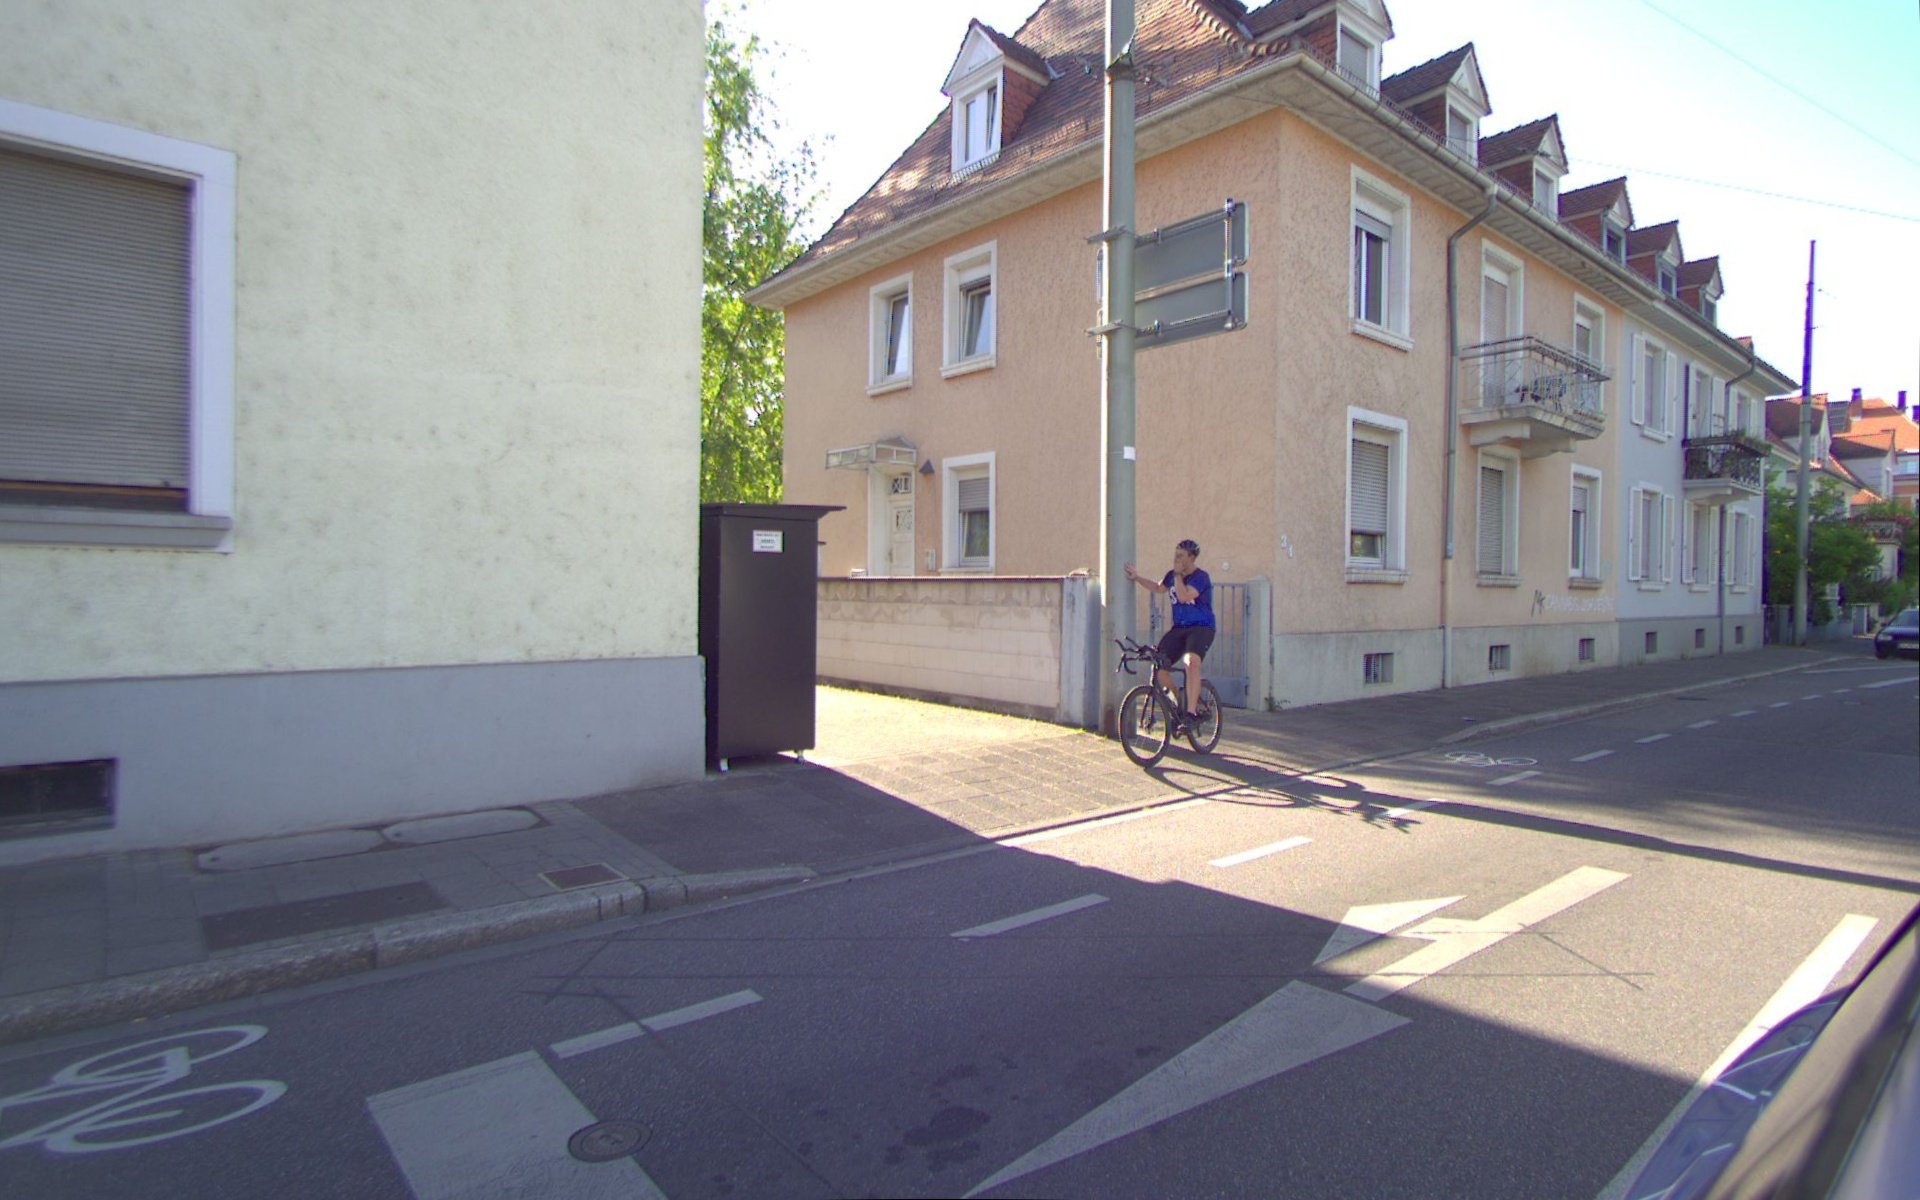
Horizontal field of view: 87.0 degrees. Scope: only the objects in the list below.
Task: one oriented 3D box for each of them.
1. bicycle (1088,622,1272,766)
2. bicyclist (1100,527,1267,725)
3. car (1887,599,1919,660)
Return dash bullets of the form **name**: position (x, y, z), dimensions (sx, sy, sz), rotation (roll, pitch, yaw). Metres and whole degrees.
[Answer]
- **bicycle**: position (1.974, 0.776, 8.949), dimensions (1.744, 1.081, 0.592), rotation (0, 5, -41)
- **bicyclist**: position (2.024, 0.196, 9.227), dimensions (0.870, 1.627, 1.052), rotation (1, 5, -41)
- **car**: position (26.704, 0.755, 27.367), dimensions (3.742, 1.601, 1.696), rotation (0, -1, -36)
